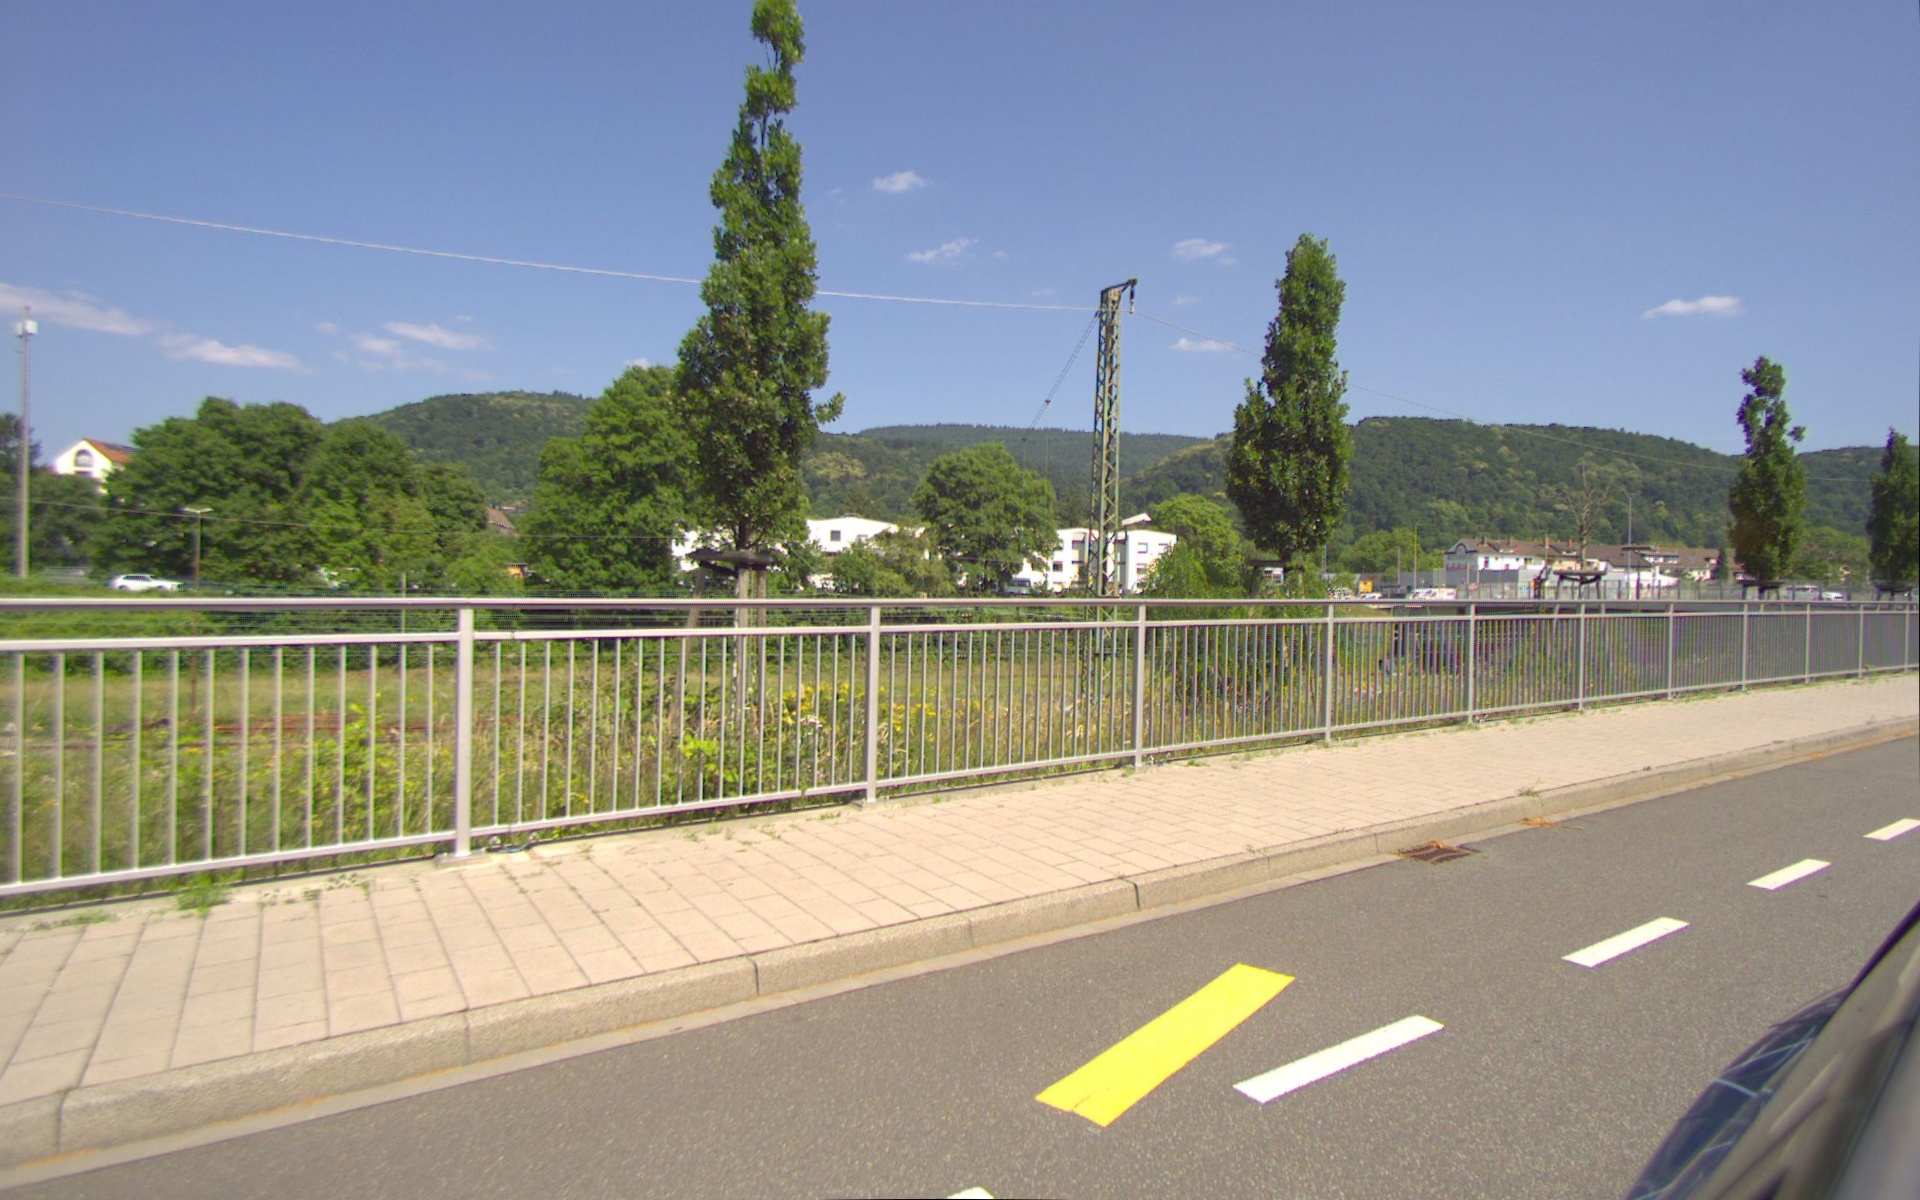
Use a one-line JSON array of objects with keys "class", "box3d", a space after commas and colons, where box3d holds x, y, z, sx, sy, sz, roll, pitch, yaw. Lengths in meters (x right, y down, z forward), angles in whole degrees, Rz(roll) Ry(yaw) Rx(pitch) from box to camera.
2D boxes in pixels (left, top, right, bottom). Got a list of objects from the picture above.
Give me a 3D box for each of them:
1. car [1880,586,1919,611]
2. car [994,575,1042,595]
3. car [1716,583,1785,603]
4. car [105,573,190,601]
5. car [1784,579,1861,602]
[{"class": "car", "box3d": [69.170, -0.088, 72.709, 1.701, 1.646, 4.449, 4, 0, -7]}, {"class": "car", "box3d": [6.308, -1.634, 110.005, 4.888, 2.139, 2.004, 1, 1, -25]}, {"class": "car", "box3d": [66.763, -0.629, 85.566, 1.700, 1.647, 4.451, 1, 1, -13]}, {"class": "car", "box3d": [-64.109, -1.016, 79.963, 4.889, 2.139, 2.003, 1, 1, -28]}, {"class": "car", "box3d": [68.020, -0.800, 79.914, 1.701, 1.646, 4.450, 4, 0, -10]}]
